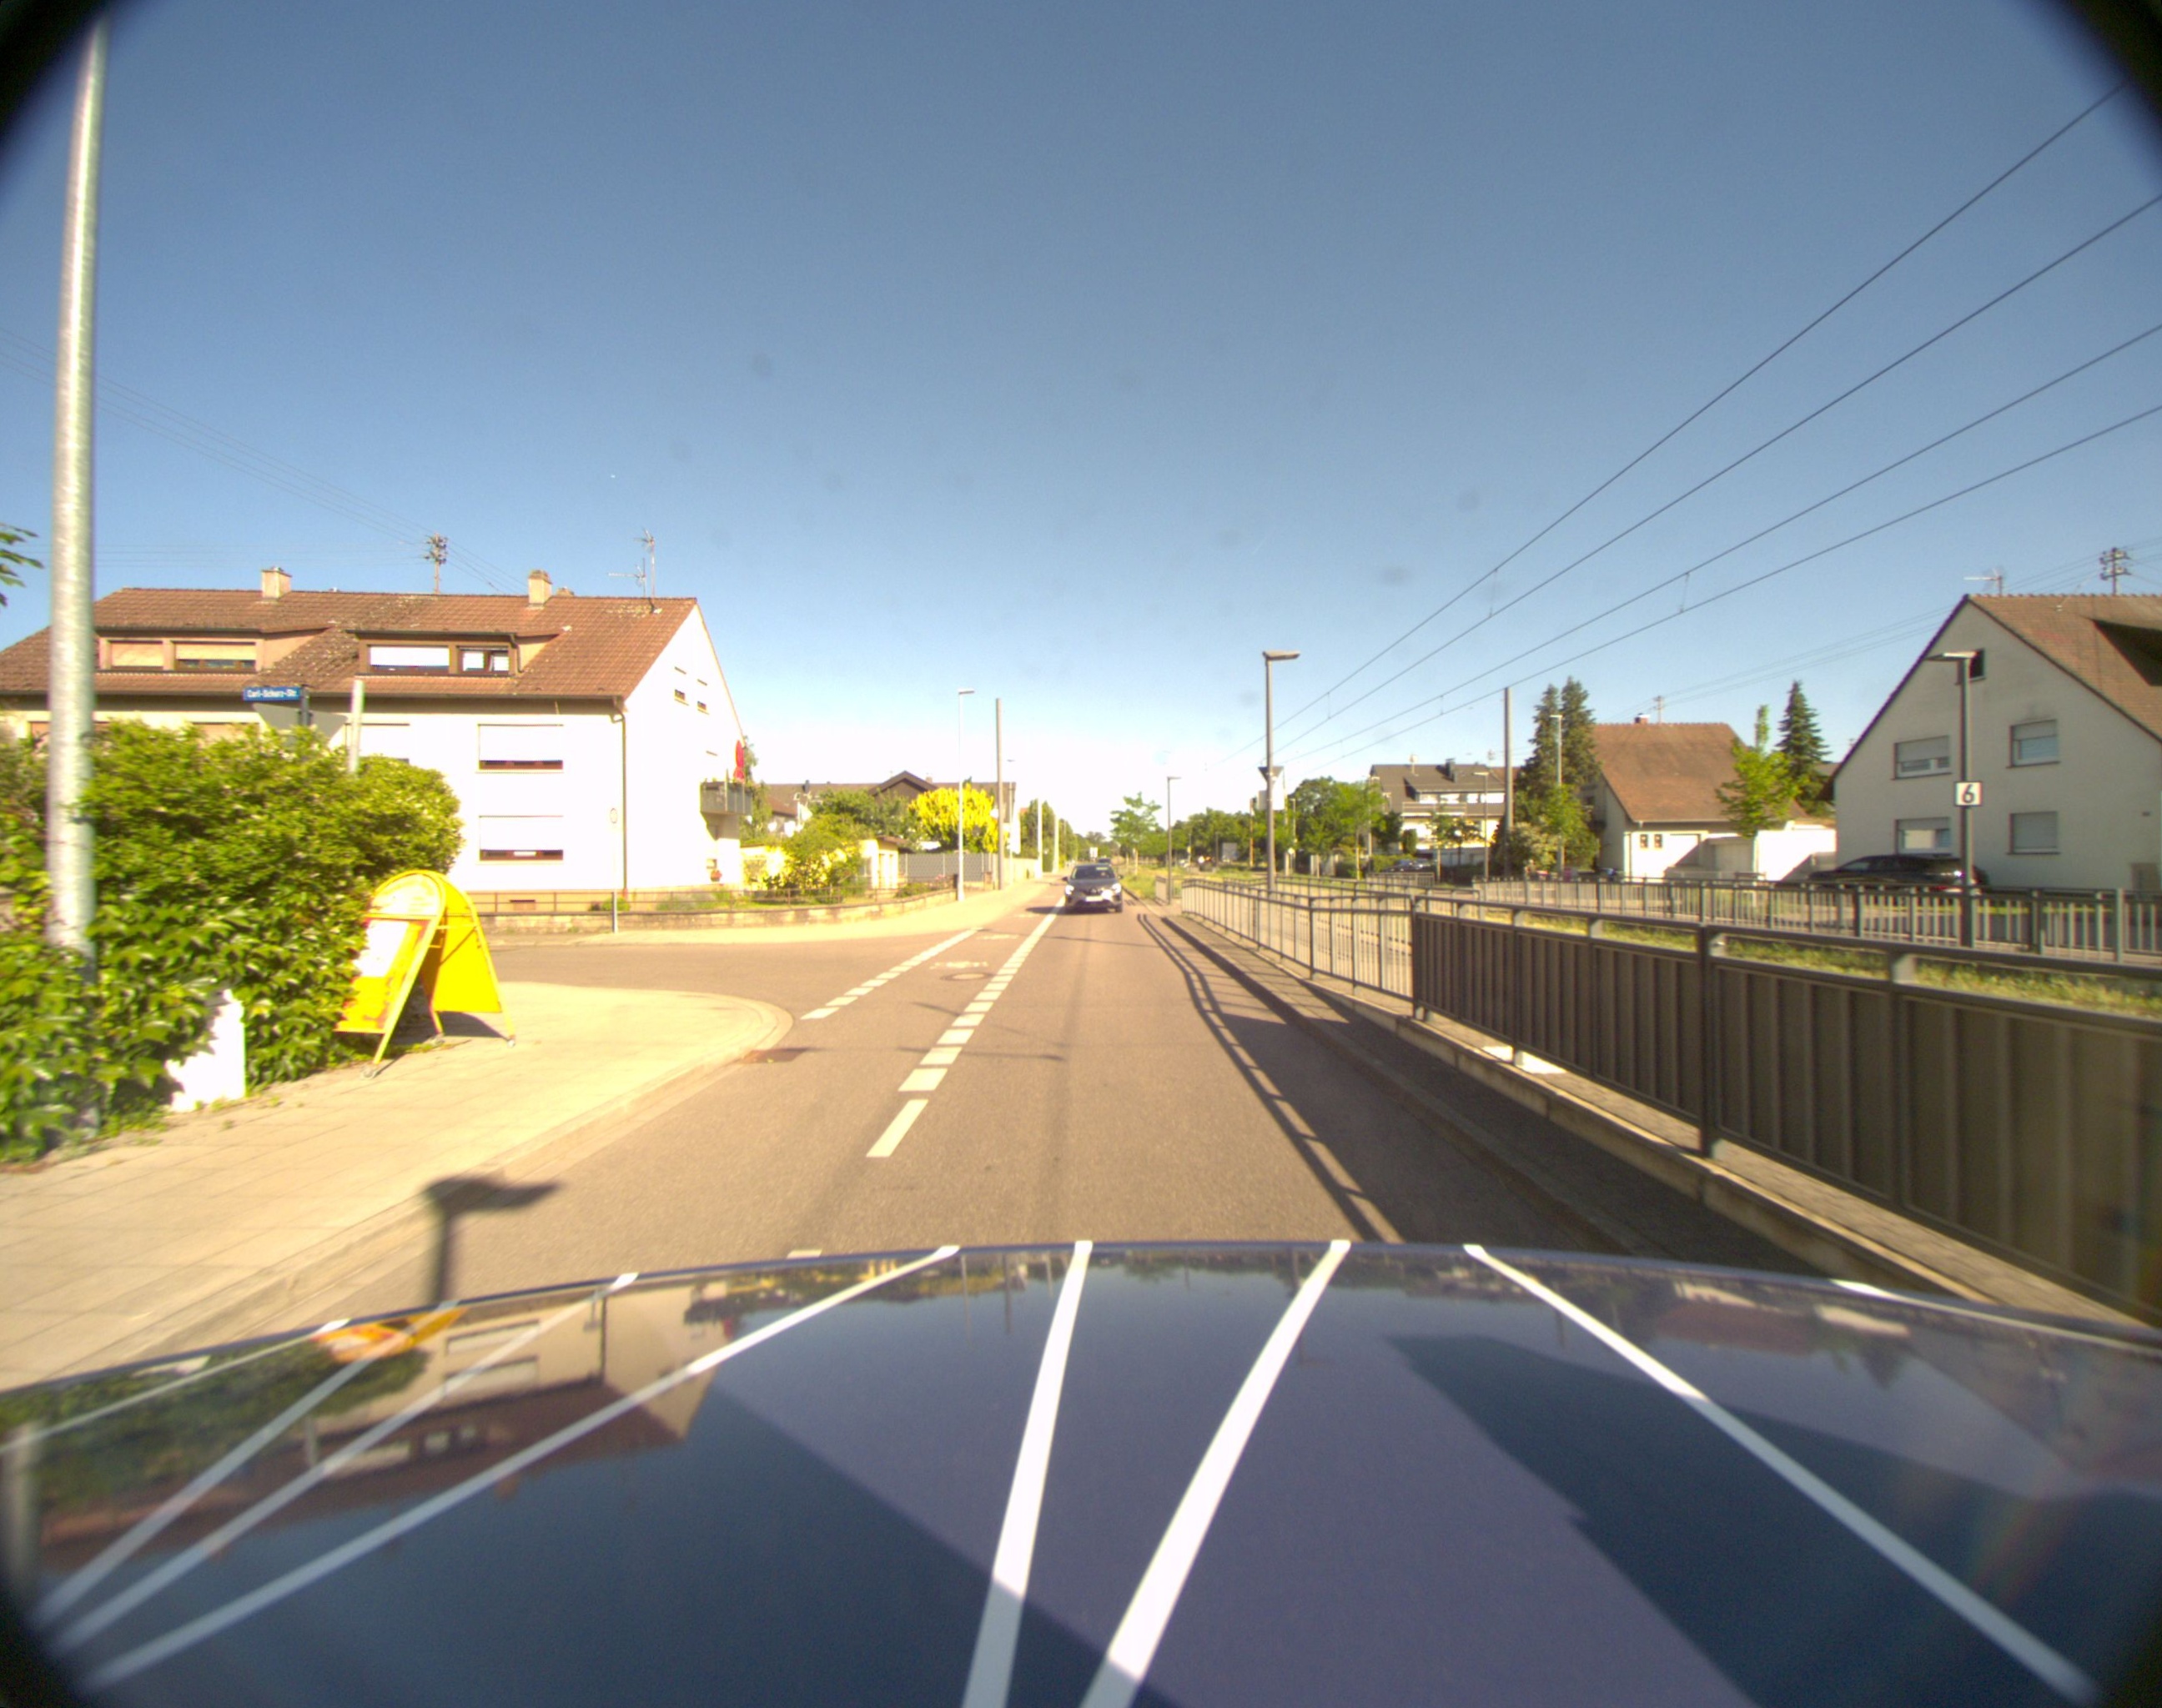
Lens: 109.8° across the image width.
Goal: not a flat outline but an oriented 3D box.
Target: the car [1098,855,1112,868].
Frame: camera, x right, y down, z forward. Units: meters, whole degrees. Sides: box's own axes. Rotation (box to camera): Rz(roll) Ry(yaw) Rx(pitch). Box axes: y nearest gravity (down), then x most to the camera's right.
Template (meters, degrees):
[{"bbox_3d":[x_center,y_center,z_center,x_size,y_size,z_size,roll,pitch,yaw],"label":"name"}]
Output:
[{"bbox_3d":[3.479,1.088,110.880,1.998,1.824,4.000,-2,1,2],"label":"car"}]

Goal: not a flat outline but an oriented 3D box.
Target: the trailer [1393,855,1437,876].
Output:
[{"bbox_3d":[26.893,0.904,61.297,2.921,1.638,1.398,-1,0,-2],"label":"trailer"}]

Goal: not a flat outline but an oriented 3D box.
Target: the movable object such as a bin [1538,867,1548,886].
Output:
[{"bbox_3d":[24.575,1.199,40.448,0.299,0.960,0.333,-2,1,-3],"label":"movable object such as a bin"}]

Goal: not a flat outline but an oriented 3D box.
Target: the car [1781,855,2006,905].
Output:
[{"bbox_3d":[26.302,0.781,24.958,1.939,1.441,5.163,-1,0,1],"label":"car"}]

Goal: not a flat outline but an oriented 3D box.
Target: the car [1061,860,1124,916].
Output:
[{"bbox_3d":[0.332,1.045,24.749,1.867,1.614,4.000,-1,0,-1],"label":"car"}]

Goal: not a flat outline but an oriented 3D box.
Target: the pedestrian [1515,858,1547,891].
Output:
[{"bbox_3d":[22.503,1.025,37.986,0.967,1.631,1.086,-1,0,1],"label":"pedestrian"}]

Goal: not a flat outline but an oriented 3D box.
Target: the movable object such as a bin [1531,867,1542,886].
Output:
[{"bbox_3d":[24.248,1.205,40.437,0.326,0.964,0.350,-2,1,-3],"label":"movable object such as a bin"}]

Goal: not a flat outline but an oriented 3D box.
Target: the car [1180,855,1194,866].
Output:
[{"bbox_3d":[18.057,1.109,129.912,1.902,1.903,4.703,0,0,3],"label":"car"}]

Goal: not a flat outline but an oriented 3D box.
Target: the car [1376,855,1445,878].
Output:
[{"bbox_3d":[25.606,0.948,59.046,4.556,1.724,2.051,0,0,-10],"label":"car"}]

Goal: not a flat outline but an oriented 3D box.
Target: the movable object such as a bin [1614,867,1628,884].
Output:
[{"bbox_3d":[28.510,1.146,40.114,0.371,0.892,0.452,-2,1,-3],"label":"movable object such as a bin"}]

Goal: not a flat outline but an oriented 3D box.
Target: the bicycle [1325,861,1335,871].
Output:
[{"bbox_3d":[24.873,1.153,75.882,0.424,0.936,1.748,-2,1,1],"label":"bicycle"}]
